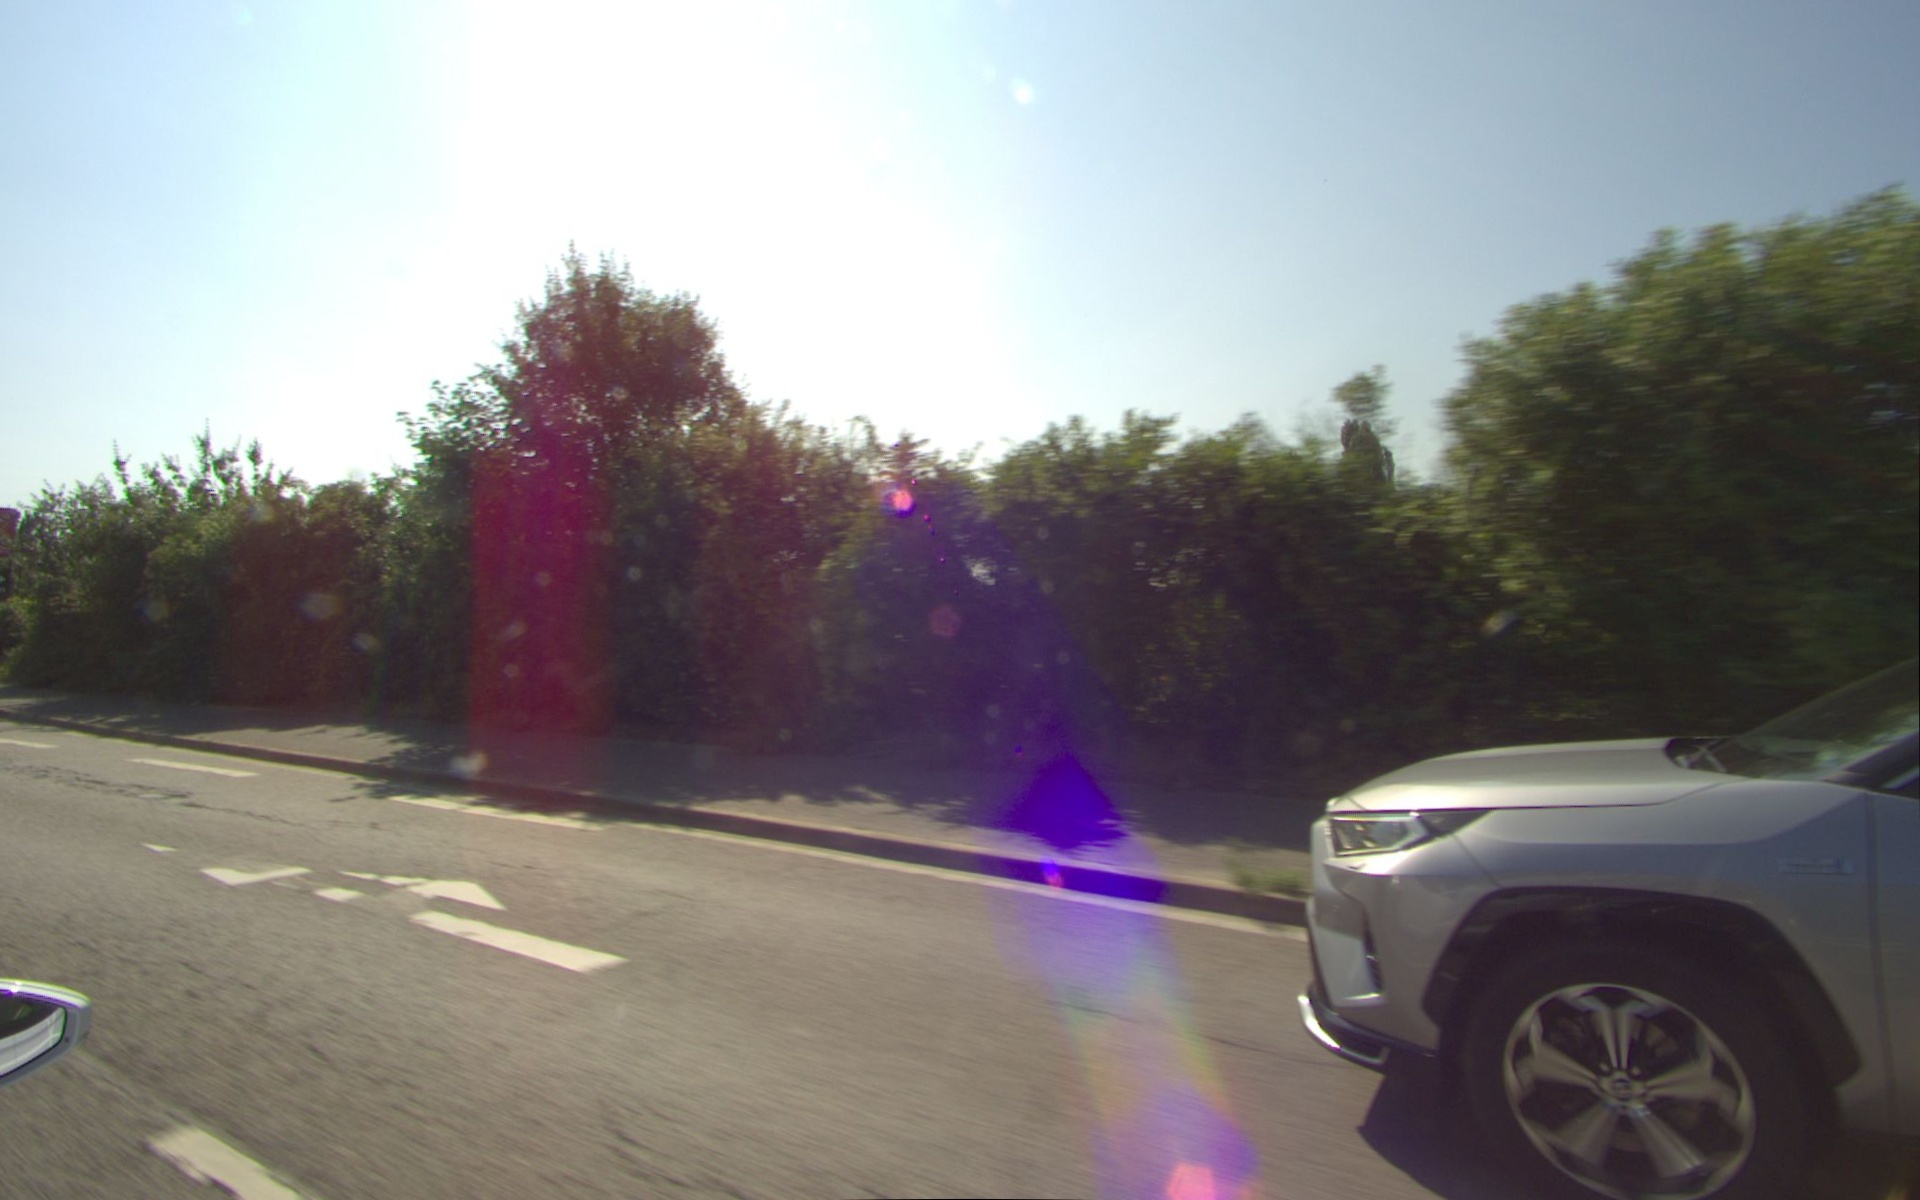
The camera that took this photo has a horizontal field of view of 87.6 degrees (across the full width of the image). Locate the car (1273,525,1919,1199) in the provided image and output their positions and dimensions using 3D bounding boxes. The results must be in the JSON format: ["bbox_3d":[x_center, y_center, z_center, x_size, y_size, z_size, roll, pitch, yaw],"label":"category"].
[{"bbox_3d":[3.351,0.703,2.451,4.618,1.701,1.898,-1,-2,34],"label":"car"}]
